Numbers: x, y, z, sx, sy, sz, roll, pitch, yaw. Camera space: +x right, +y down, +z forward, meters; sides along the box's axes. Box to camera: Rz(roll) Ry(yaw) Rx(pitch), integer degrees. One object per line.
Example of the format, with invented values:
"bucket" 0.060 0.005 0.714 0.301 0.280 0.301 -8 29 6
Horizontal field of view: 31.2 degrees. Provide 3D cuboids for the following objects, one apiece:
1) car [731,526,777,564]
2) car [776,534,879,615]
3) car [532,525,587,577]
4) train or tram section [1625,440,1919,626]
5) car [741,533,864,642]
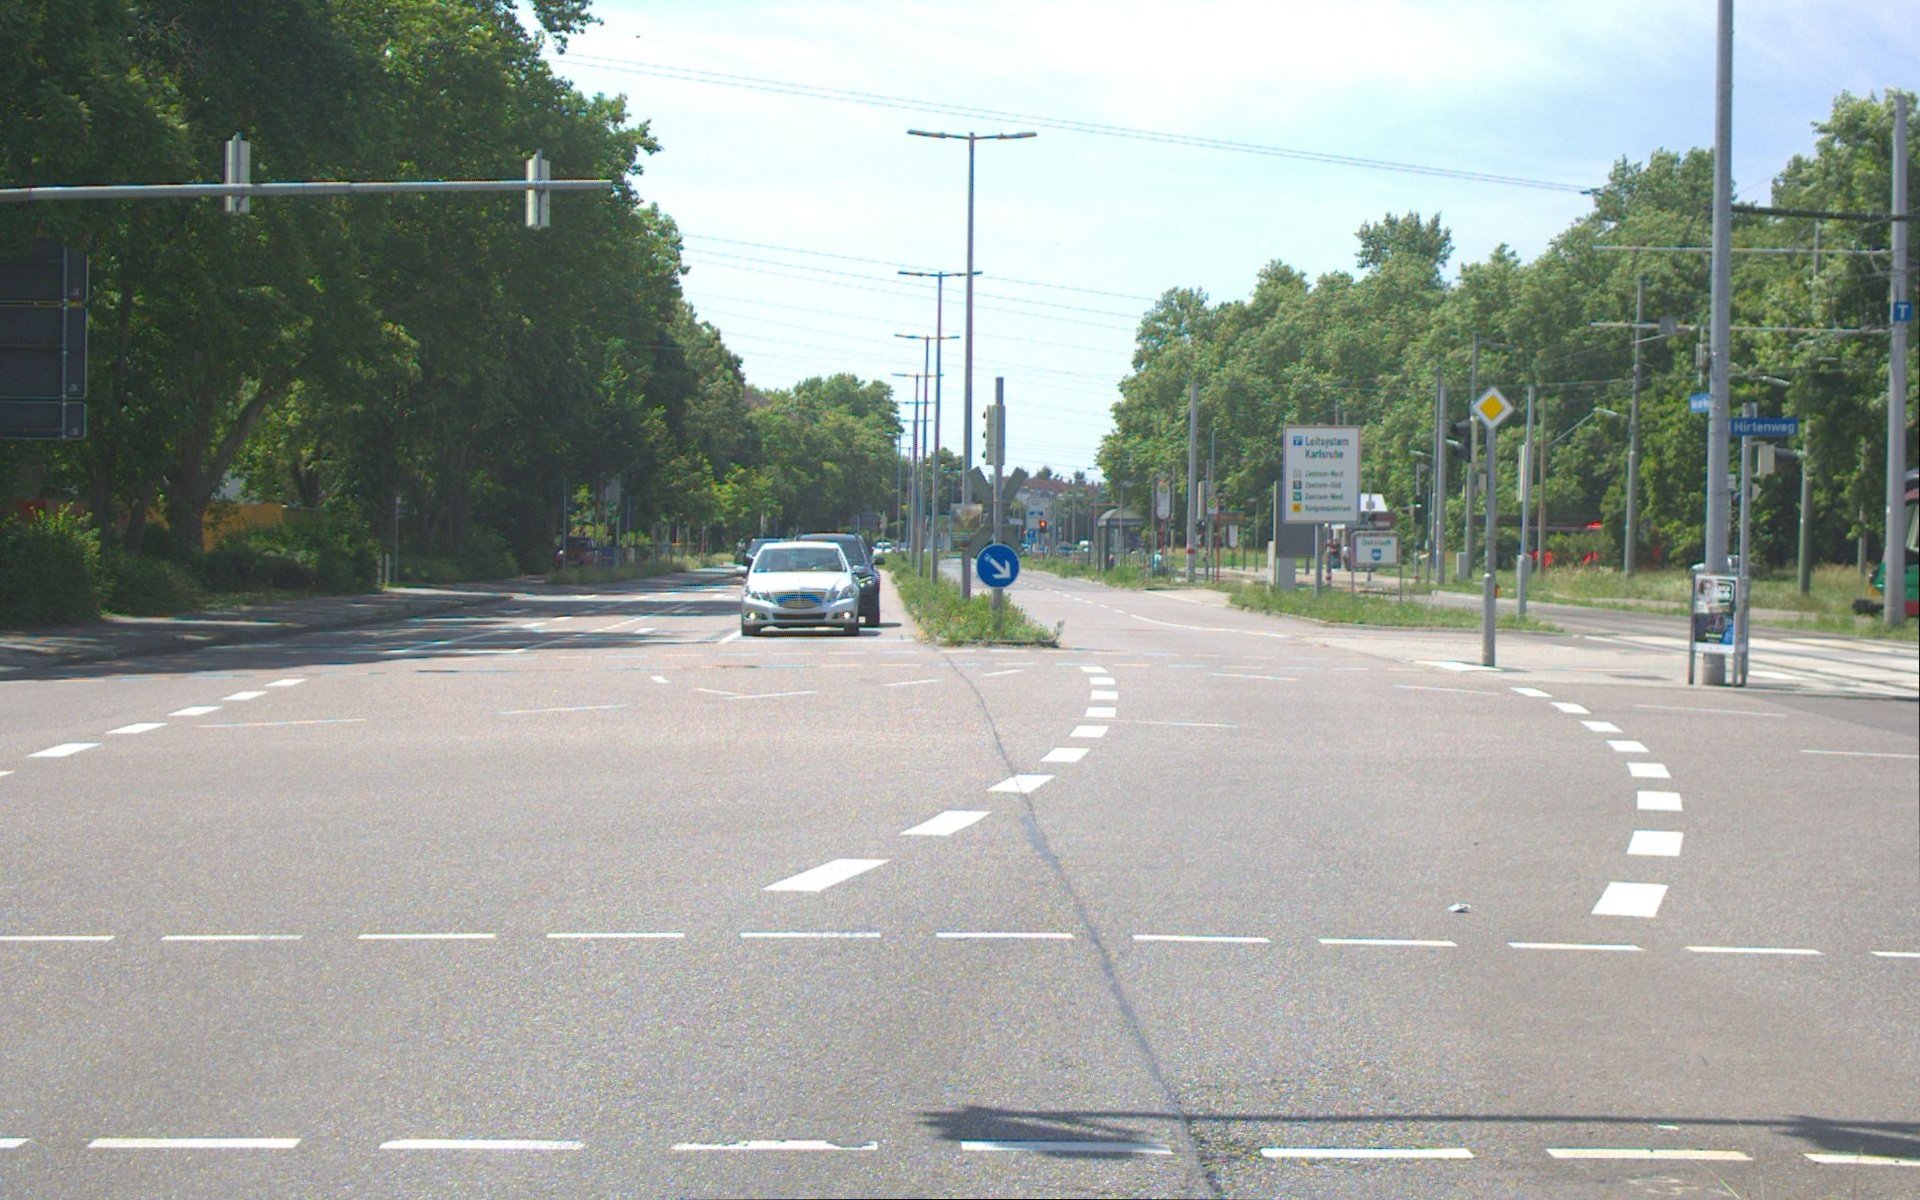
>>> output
"car" -8.307 -2.241 138.785 1.671 1.485 3.711 1 1 -1
"car" -2.344 -0.480 61.612 1.710 1.361 3.865 1 1 -1
"car" -16.850 -2.051 144.782 1.993 2.007 4.001 4 0 -4
"train or tram section" 20.863 -1.380 72.893 13.056 3.799 2.918 1 -2 33
"car" -2.454 -0.227 54.216 1.784 1.623 3.865 1 1 -1
